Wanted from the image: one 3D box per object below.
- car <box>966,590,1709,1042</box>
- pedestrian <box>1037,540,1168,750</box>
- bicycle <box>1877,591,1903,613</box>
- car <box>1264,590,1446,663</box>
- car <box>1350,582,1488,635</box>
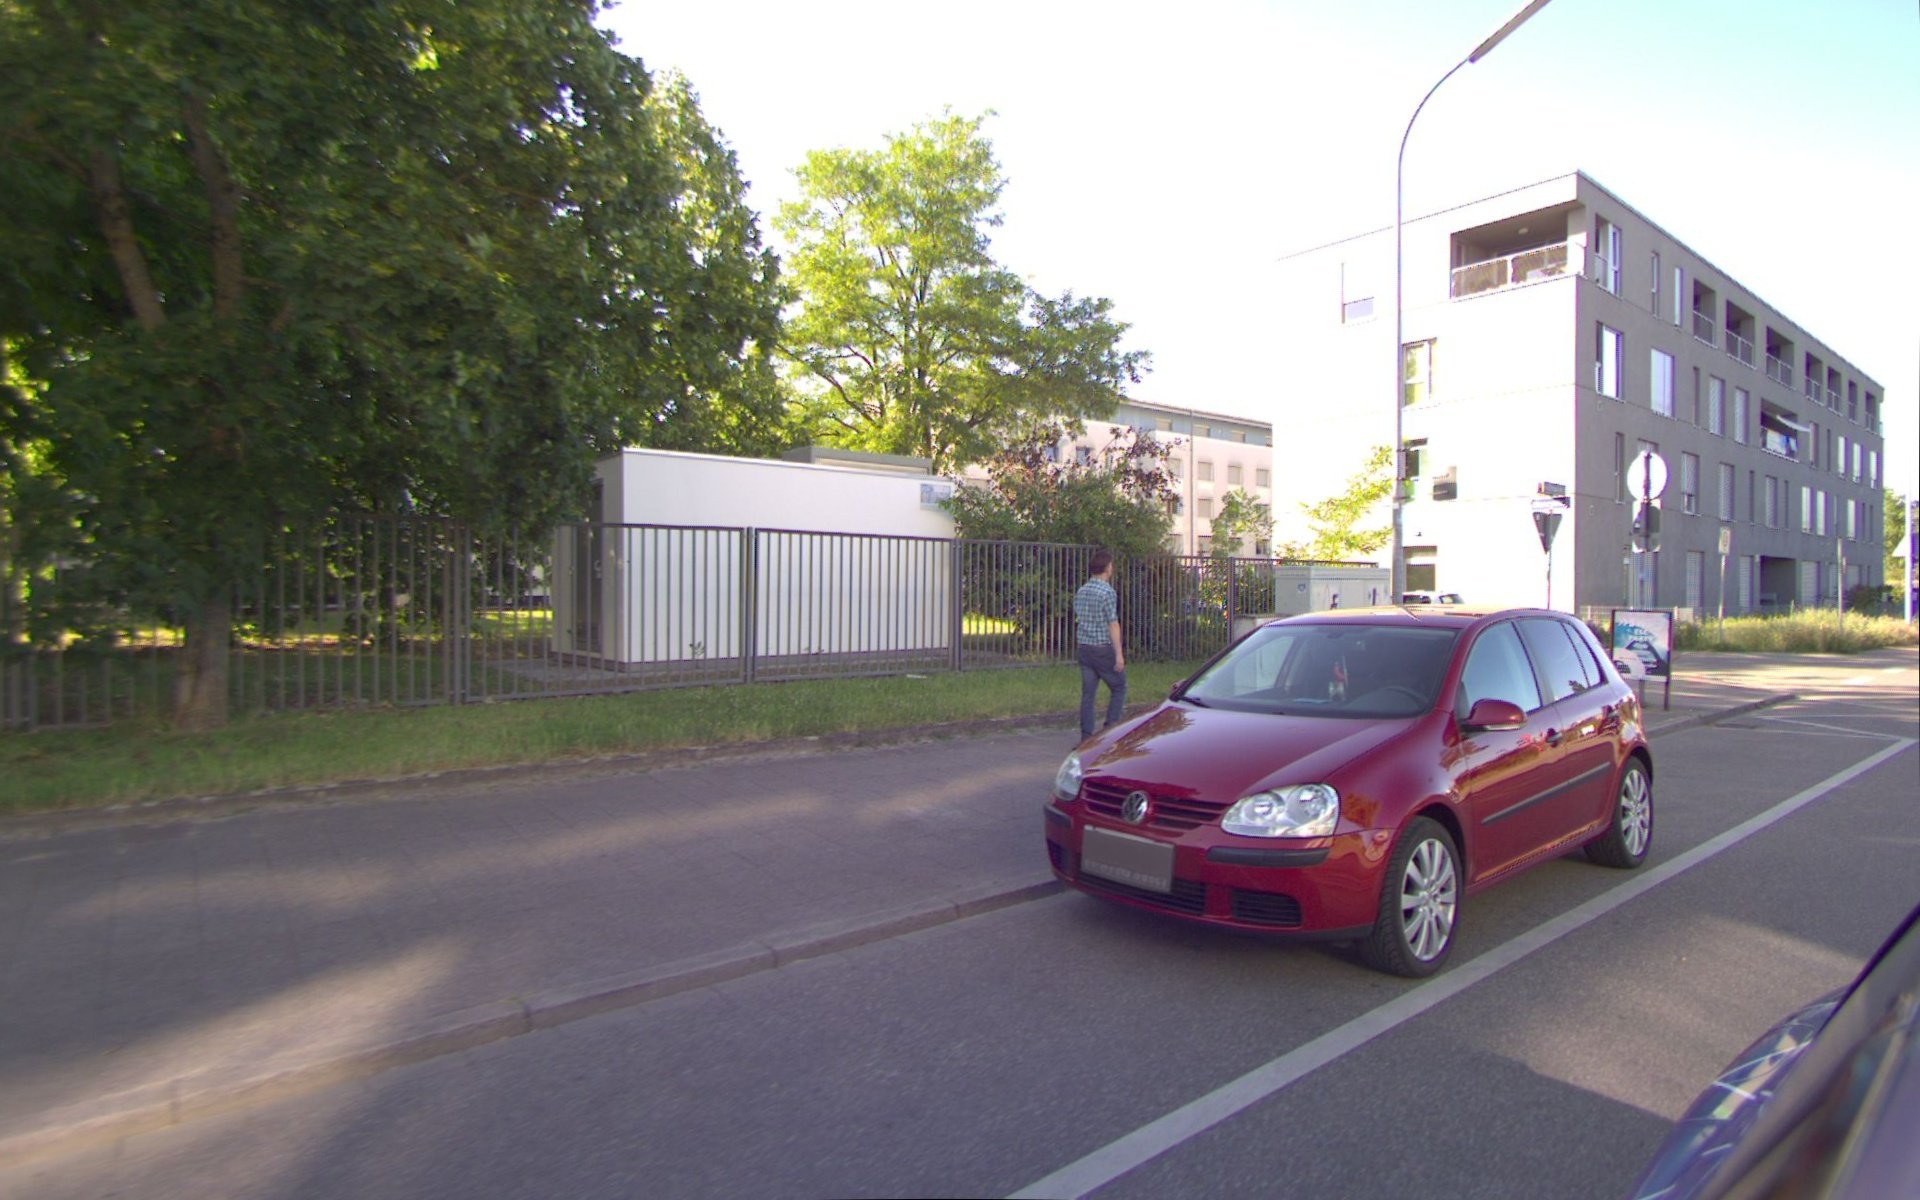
[{"bbox_3d":[2.329,0.702,5.467,4.569,1.473,1.723,-1,0,-40],"label":"car"},{"bbox_3d":[1.280,0.363,9.125,0.868,1.779,0.720,0,2,-38],"label":"pedestrian"},{"bbox_3d":[45.702,0.078,49.712,1.807,1.074,0.554,0,0,-35],"label":"bicycle"},{"bbox_3d":[8.854,0.532,22.900,1.571,1.504,3.556,0,1,-37],"label":"car"},{"bbox_3d":[13.498,0.205,29.908,1.681,1.476,3.339,0,1,-33],"label":"car"}]
